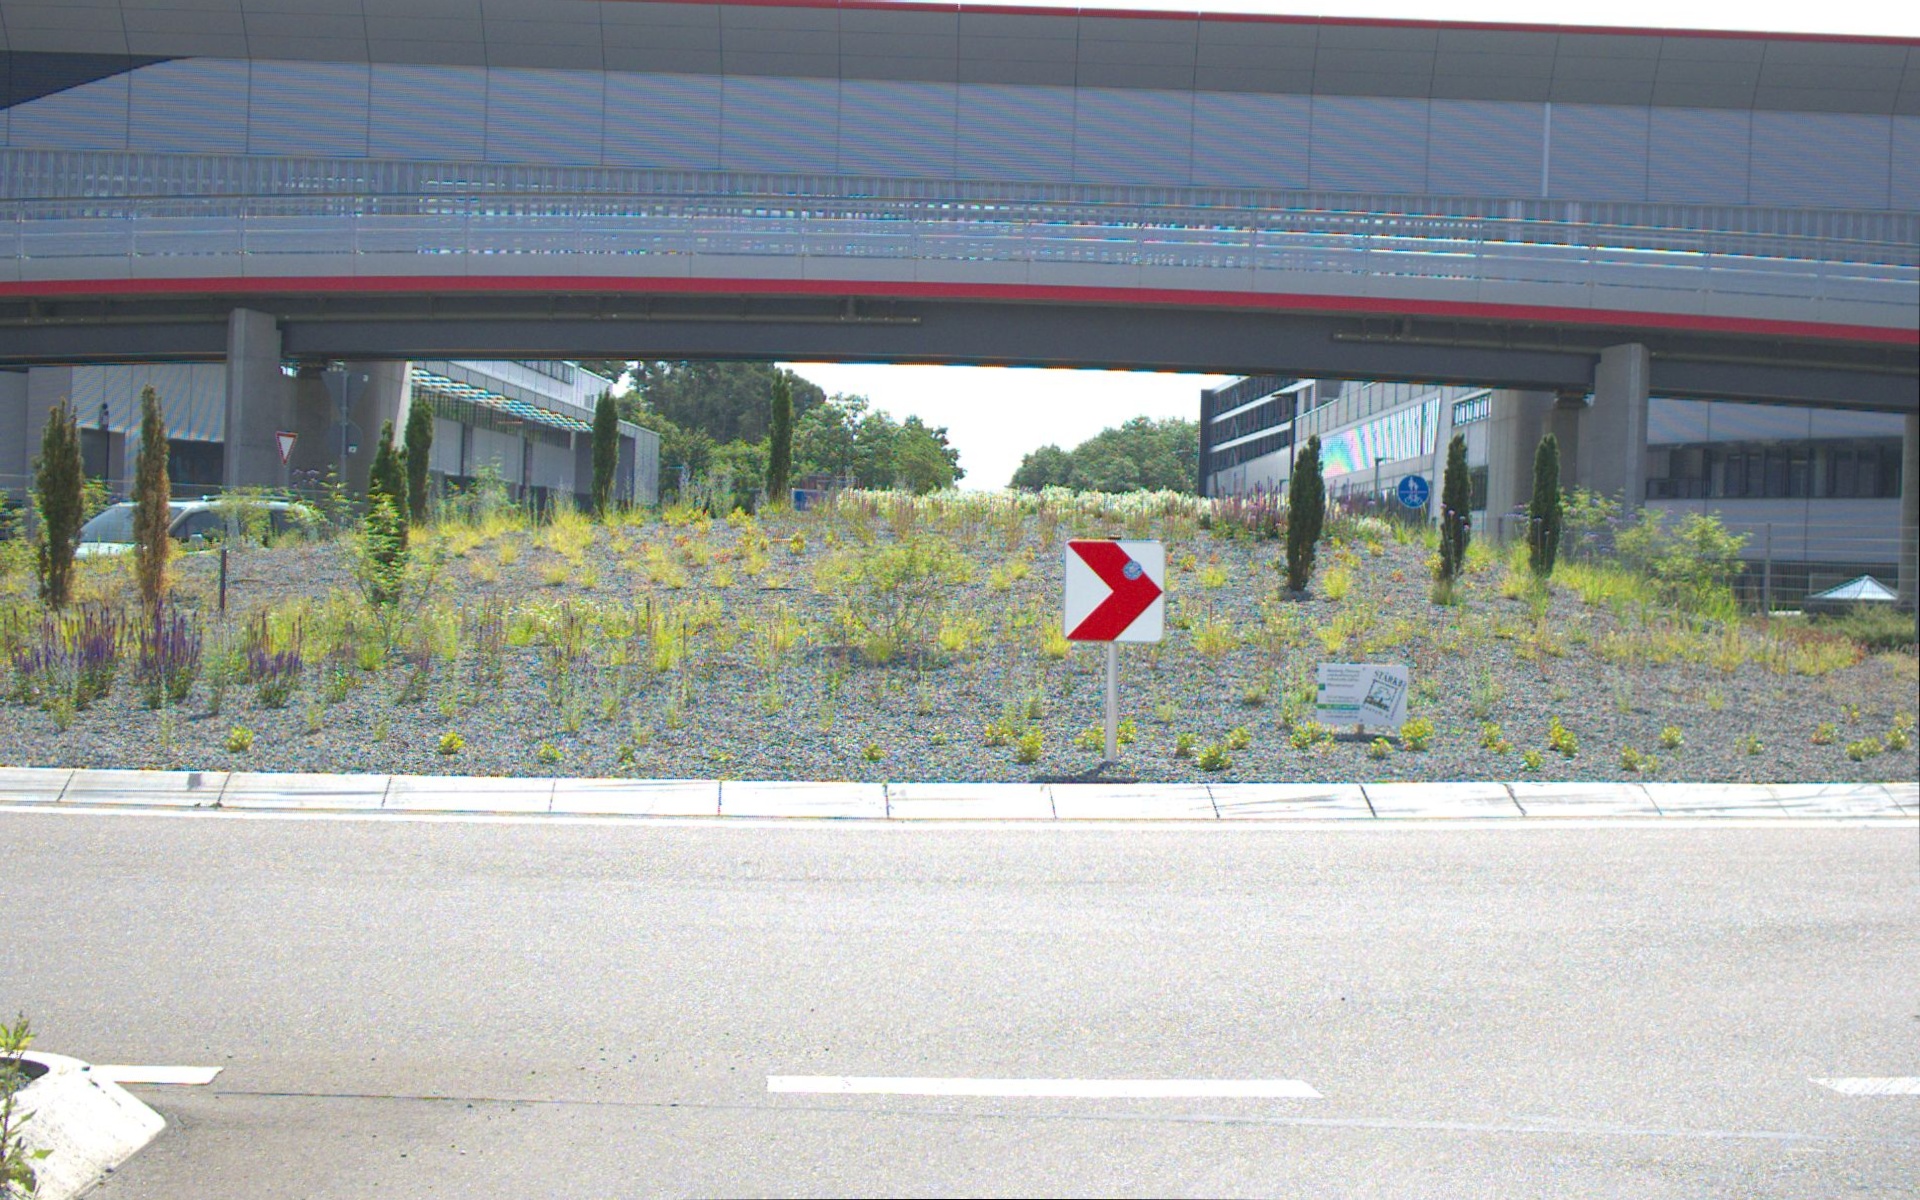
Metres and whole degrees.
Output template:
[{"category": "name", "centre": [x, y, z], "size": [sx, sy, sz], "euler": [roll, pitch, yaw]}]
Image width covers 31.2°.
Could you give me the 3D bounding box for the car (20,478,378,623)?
[{"category": "car", "centre": [-9.906, -0.637, 45.083], "size": [1.997, 1.773, 4.553], "euler": [2, 1, 30]}]
